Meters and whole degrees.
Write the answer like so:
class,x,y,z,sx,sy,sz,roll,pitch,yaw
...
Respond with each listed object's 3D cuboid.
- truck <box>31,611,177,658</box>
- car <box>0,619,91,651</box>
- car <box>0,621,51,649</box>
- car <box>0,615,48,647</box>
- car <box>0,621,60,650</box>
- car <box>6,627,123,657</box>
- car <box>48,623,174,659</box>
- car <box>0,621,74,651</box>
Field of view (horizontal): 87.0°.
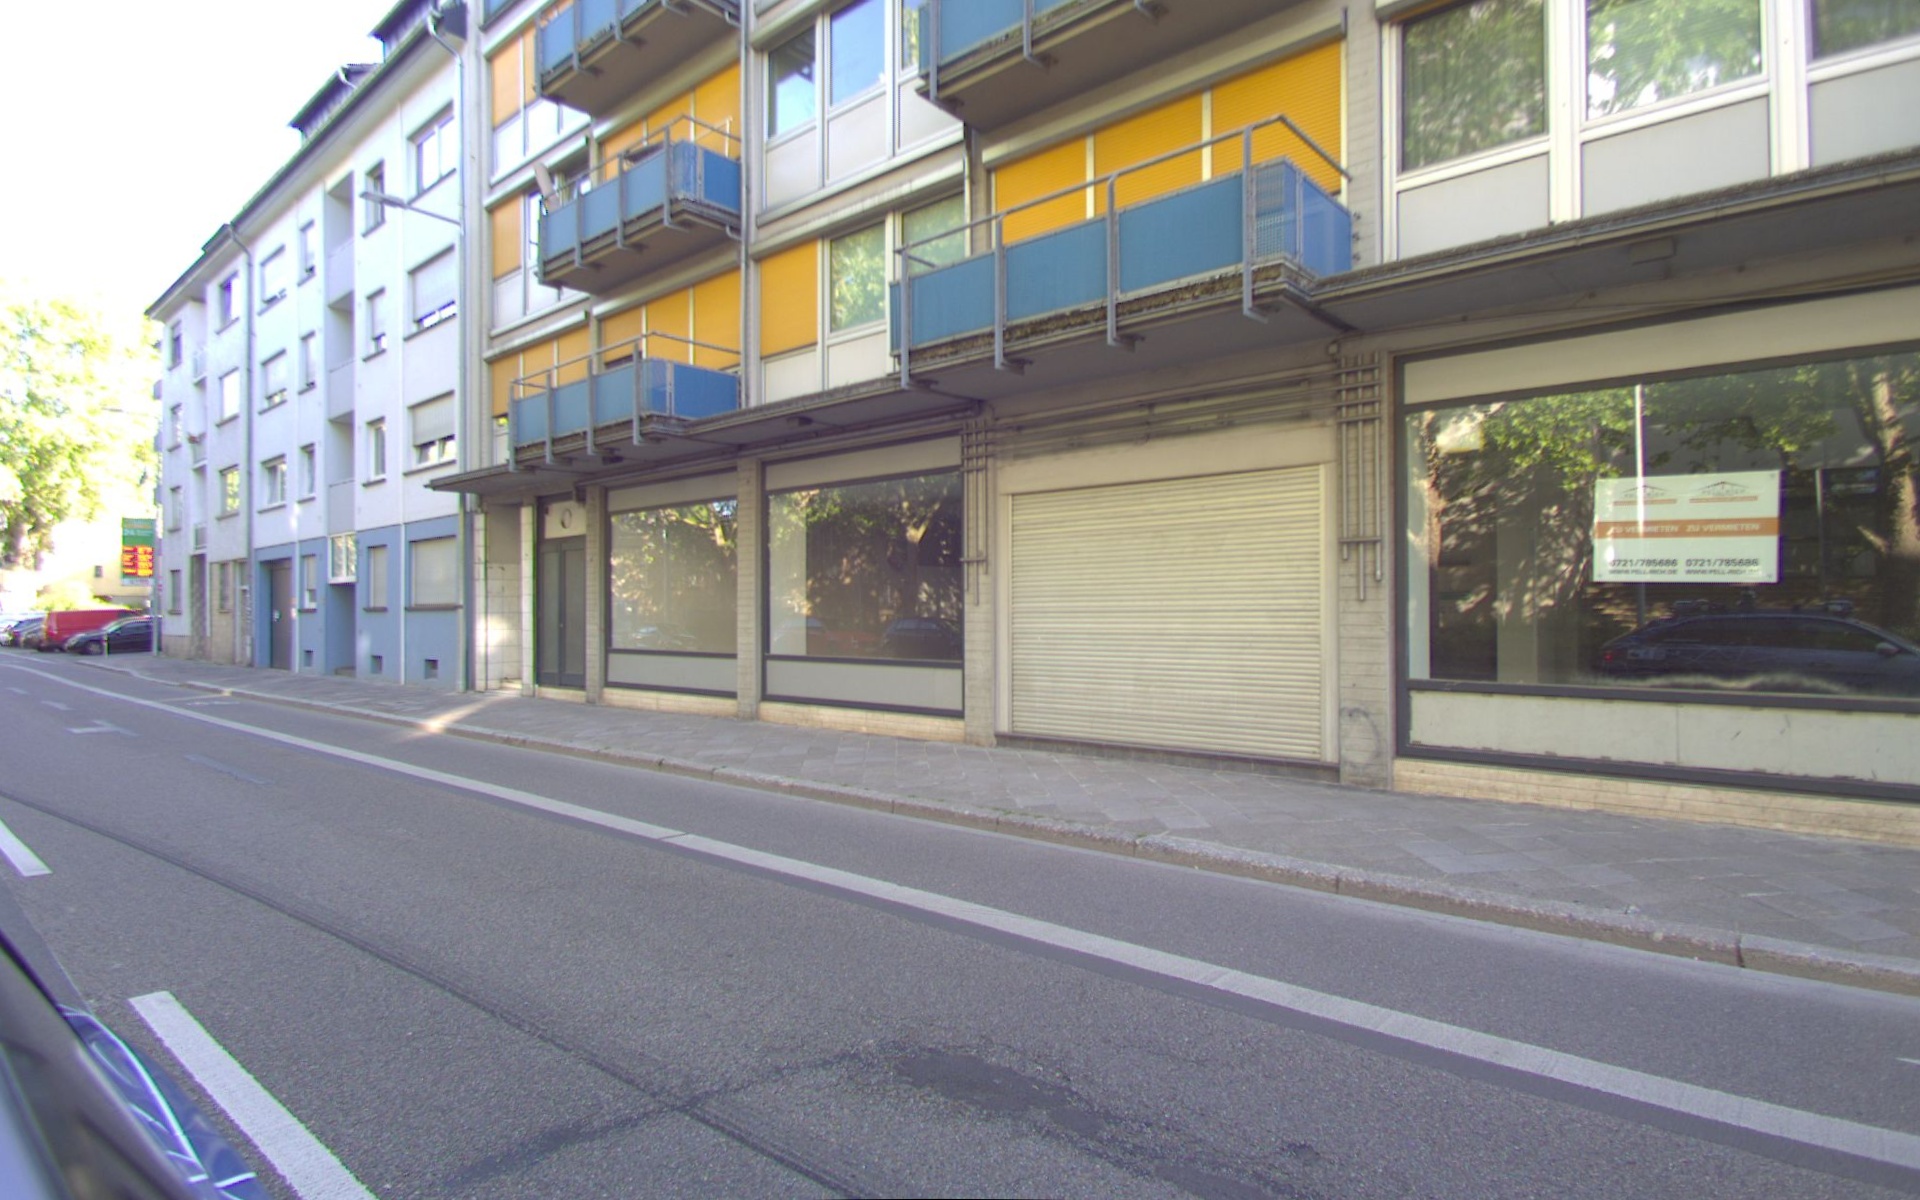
class,x,y,z,sx,sy,sz,roll,pitch,yaw
truck,-40.364,1.578,47.843,1.998,2.036,5.024,-1,0,40
car,-50.838,1.891,55.975,1.699,1.640,3.952,-1,0,35
car,-56.902,2.116,60.400,1.740,1.600,3.685,-1,0,35
car,-59.736,1.961,63.805,1.693,1.953,3.224,-1,0,43
car,-55.082,2.075,59.007,1.715,1.594,3.660,-1,0,35
car,-43.105,1.983,48.793,1.904,1.282,3.983,-1,0,39
car,-36.765,1.746,43.887,1.780,1.404,3.947,-1,0,39
car,-52.898,2.031,57.478,1.656,1.599,3.615,-1,0,35
